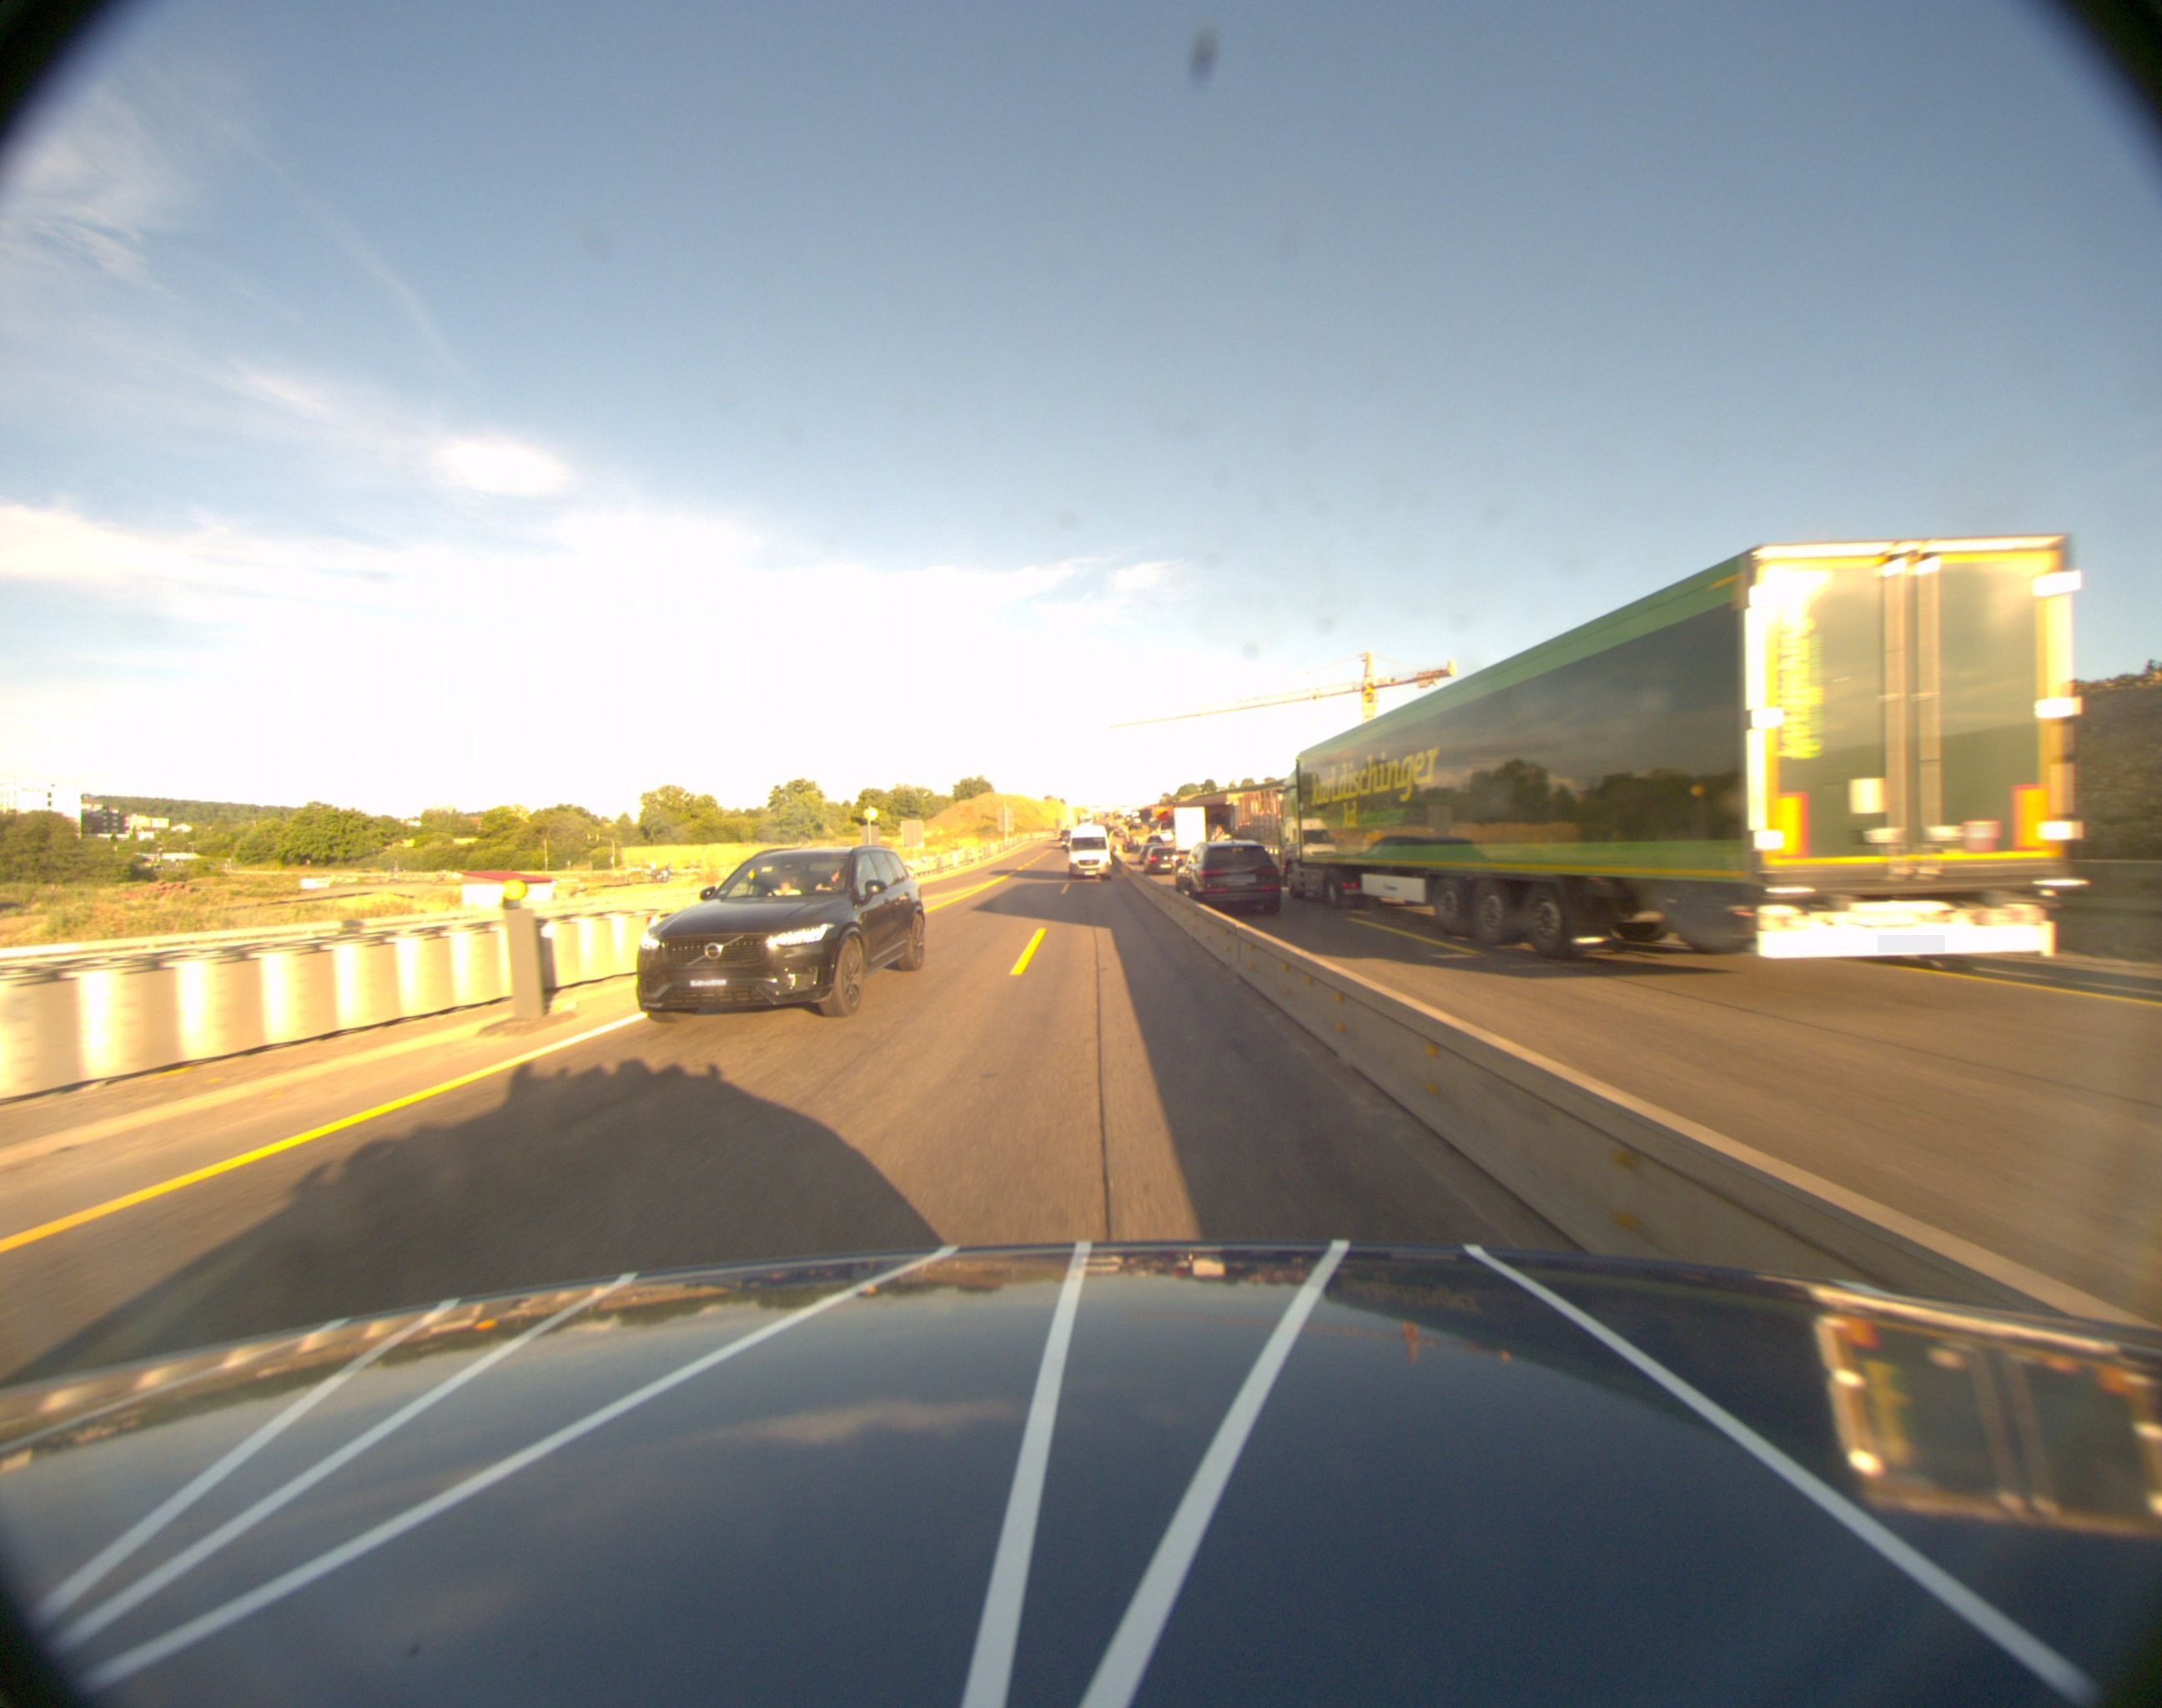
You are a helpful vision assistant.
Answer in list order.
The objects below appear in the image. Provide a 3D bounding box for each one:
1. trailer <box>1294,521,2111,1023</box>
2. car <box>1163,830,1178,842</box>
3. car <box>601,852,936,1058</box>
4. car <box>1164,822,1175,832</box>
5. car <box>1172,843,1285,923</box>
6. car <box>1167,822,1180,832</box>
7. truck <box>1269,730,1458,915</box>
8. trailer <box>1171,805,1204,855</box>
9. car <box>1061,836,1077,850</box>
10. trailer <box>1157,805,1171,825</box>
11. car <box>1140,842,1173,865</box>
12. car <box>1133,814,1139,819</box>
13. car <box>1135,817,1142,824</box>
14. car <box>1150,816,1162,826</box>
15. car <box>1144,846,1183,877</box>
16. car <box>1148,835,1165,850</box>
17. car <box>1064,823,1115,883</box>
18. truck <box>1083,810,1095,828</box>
[{"bbox_3d":[7.005,-0.714,13.030,2.781,4.008,13.680,-1,1,0],"label":"trailer"},{"bbox_3d":[11.771,-2.364,100.420,1.792,1.480,4.219,-1,3,5],"label":"car"},{"bbox_3d":[-3.185,0.873,9.056,1.902,1.703,4.887,-2,0,0],"label":"car"},{"bbox_3d":[16.784,-5.129,144.327,1.792,1.611,4.874,-3,3,9],"label":"car"},{"bbox_3d":[3.411,0.589,18.448,1.916,1.600,4.494,-2,1,1],"label":"car"},{"bbox_3d":[14.765,-4.293,121.141,1.792,1.350,4.636,-3,3,9],"label":"car"},{"bbox_3d":[7.016,-0.721,19.843,2.776,4.058,5.775,-2,1,1],"label":"truck"},{"bbox_3d":[10.136,-2.358,73.086,2.536,4.190,13.934,-3,2,6],"label":"trailer"},{"bbox_3d":[-1.391,-1.308,90.769,1.790,1.477,4.000,-2,0,0],"label":"car"},{"bbox_3d":[19.669,-9.297,181.174,2.589,4.448,14.131,-3,3,4],"label":"trailer"},{"bbox_3d":[5.122,-0.046,52.211,1.841,1.401,4.494,-2,1,1],"label":"car"},{"bbox_3d":[16.898,-11.576,234.226,1.665,1.383,3.998,-6,4,3],"label":"car"},{"bbox_3d":[16.431,-9.549,216.280,1.734,1.592,4.658,-2,4,1],"label":"car"},{"bbox_3d":[16.356,-7.153,165.212,1.997,2.003,5.257,-2,3,10],"label":"car"},{"bbox_3d":[4.225,0.342,39.282,1.719,1.401,4.327,-2,1,3],"label":"car"},{"bbox_3d":[8.324,-1.267,83.770,1.854,1.475,4.511,-1,2,6],"label":"car"},{"bbox_3d":[0.431,-0.131,35.555,2.109,2.519,5.218,-2,2,2],"label":"car"},{"bbox_3d":[1.691,-7.597,167.000,2.264,3.707,6.569,-3,3,-1],"label":"truck"}]
